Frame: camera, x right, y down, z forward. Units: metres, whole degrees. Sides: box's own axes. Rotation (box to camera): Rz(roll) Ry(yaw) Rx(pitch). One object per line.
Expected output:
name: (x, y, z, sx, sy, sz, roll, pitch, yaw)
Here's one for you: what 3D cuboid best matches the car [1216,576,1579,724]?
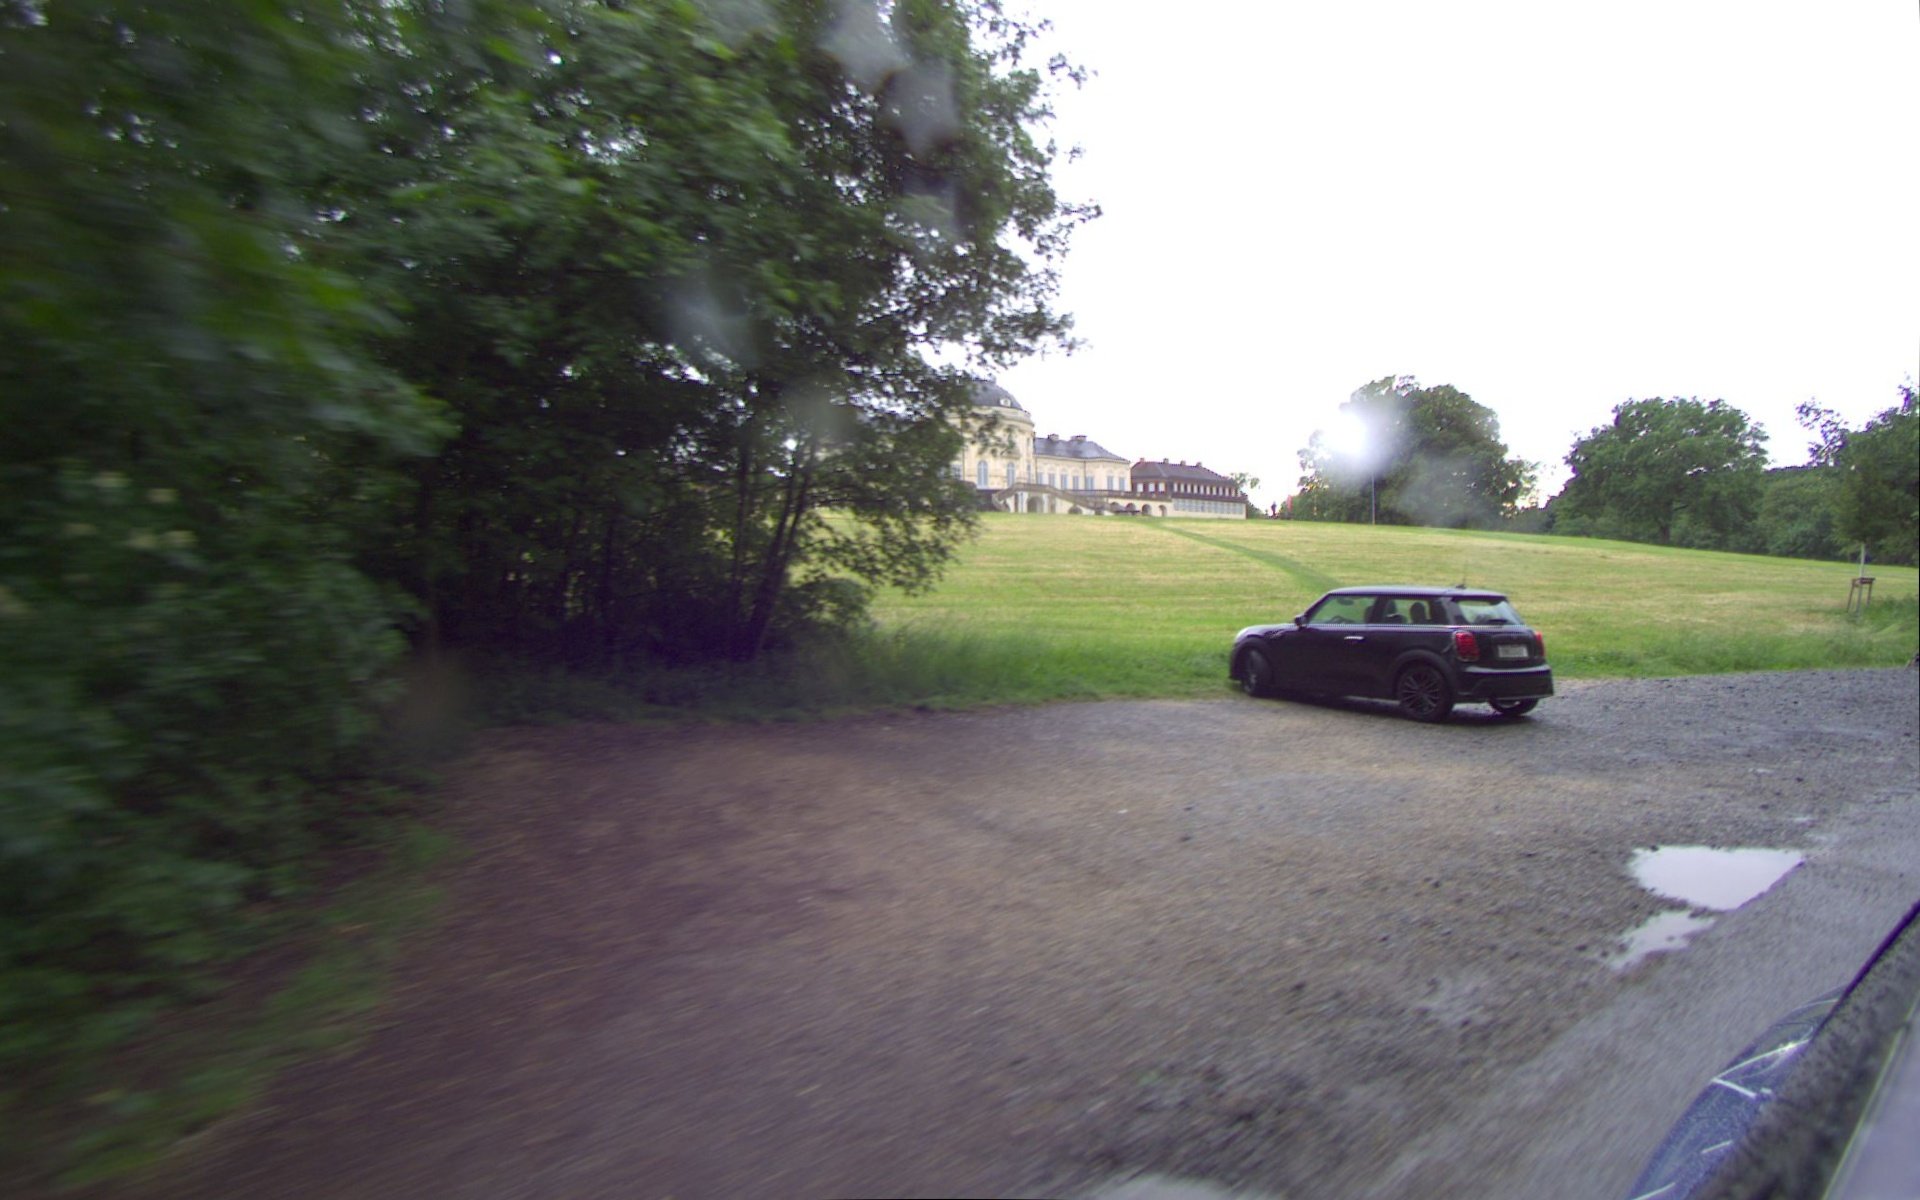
car: (4.962, 0.483, 12.006, 1.672, 1.454, 3.724, -1, 0, -27)
